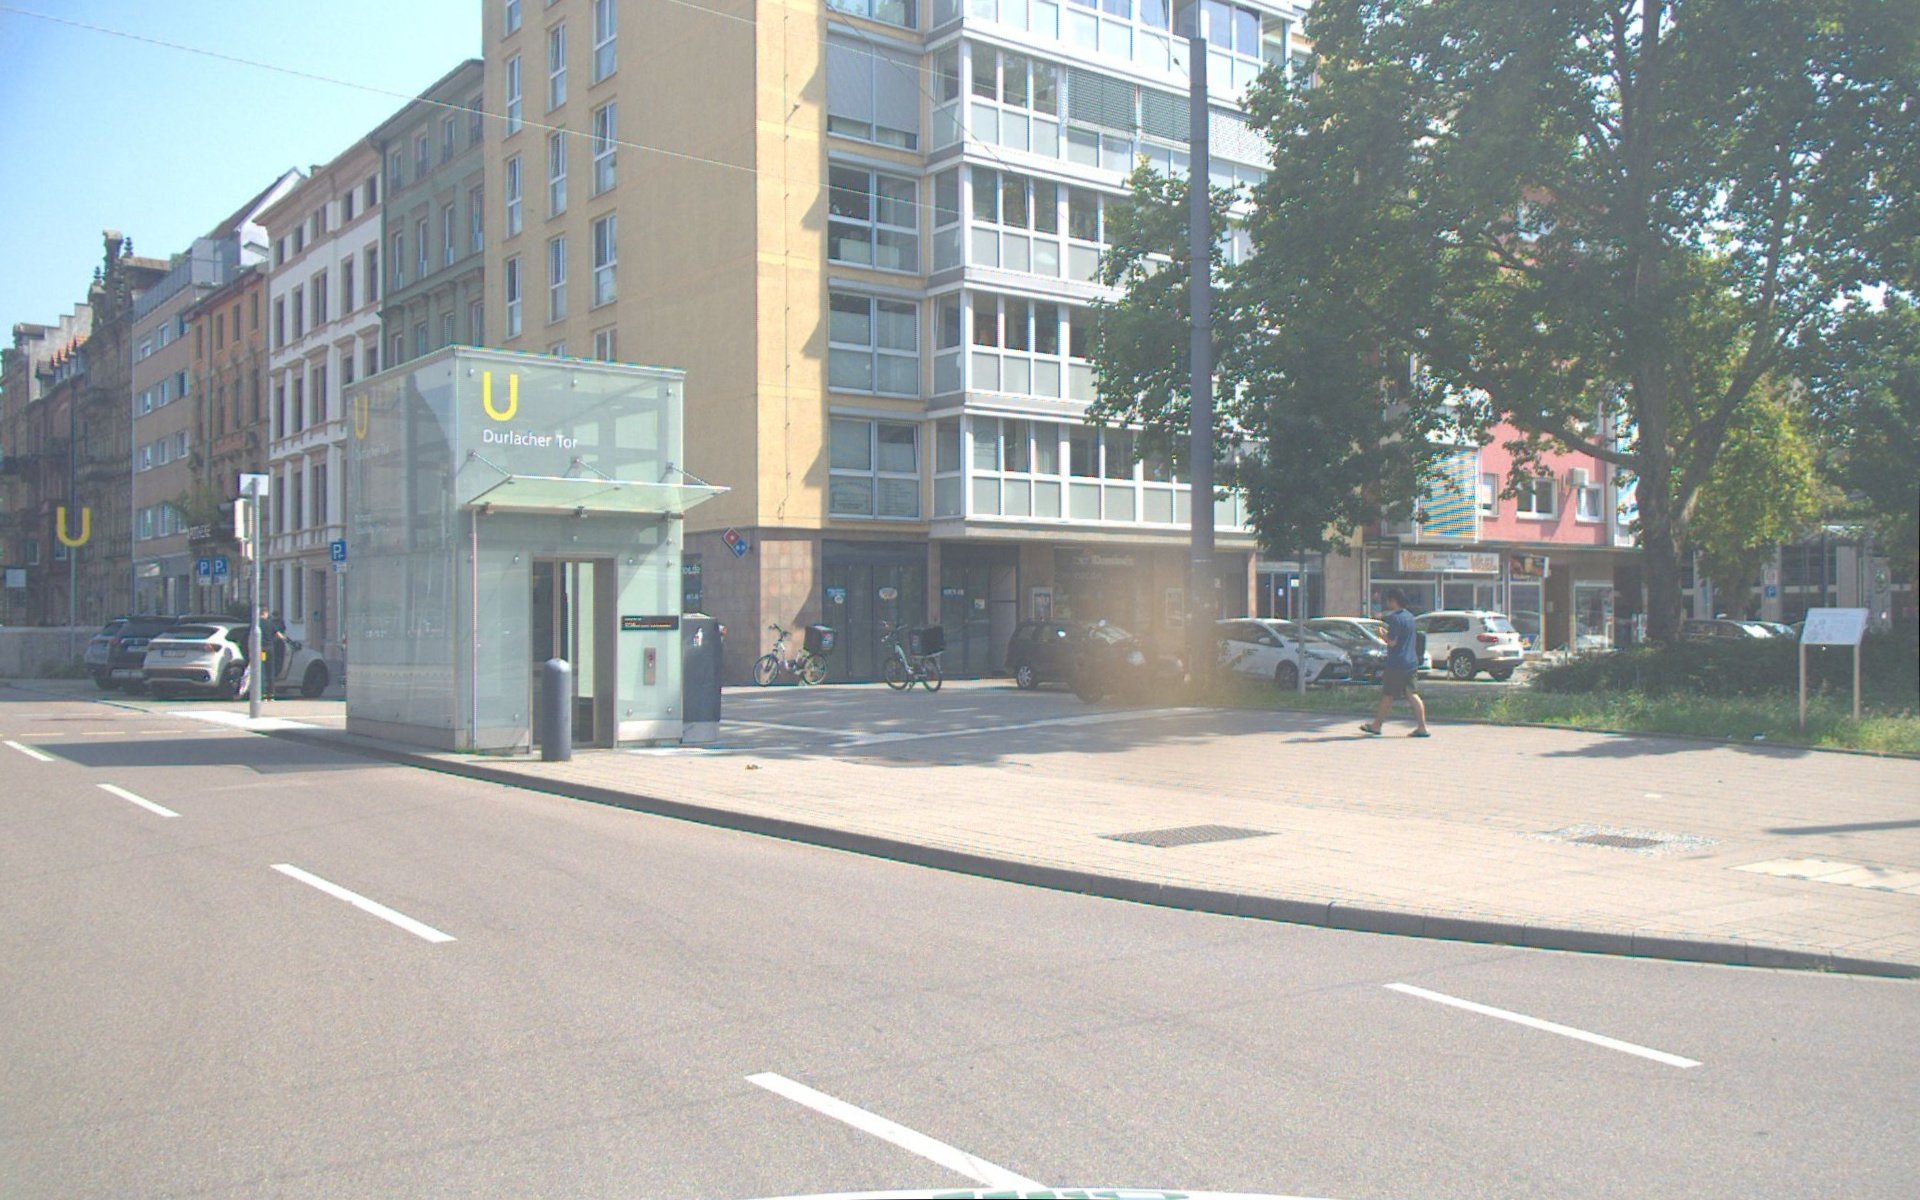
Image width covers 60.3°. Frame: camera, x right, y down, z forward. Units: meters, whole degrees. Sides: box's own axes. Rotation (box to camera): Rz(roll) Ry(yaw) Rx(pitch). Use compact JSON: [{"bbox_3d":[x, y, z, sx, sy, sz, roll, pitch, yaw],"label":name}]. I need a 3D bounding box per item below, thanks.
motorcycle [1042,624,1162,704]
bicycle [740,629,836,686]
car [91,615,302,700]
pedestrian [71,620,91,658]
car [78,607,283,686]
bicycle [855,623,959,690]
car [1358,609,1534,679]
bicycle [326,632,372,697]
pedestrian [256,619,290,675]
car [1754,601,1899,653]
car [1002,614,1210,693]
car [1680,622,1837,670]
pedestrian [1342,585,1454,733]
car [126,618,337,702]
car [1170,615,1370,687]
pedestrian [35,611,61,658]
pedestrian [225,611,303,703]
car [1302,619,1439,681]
[{"bbox_3d":[2.115,0.946,25.020,0.898,1.157,2.095,0,-1,-25],"label":"motorcycle"},{"bbox_3d":[-3.612,1.199,34.774,1.937,1.163,0.592,0,-1,-23],"label":"bicycle"},{"bbox_3d":[-16.325,1.177,35.642,1.938,1.717,4.396,0,-1,11],"label":"car"},{"bbox_3d":[-39.334,1.742,74.025,0.691,1.696,0.595,1,-2,-36],"label":"pedestrian"},{"bbox_3d":[-18.180,1.047,38.862,1.994,1.744,4.669,0,0,11],"label":"car"},{"bbox_3d":[-1.065,1.089,32.499,0.786,1.260,2.402,0,-1,-37],"label":"bicycle"},{"bbox_3d":[12.299,1.082,42.055,1.774,1.695,4.014,0,-1,-40],"label":"car"},{"bbox_3d":[-12.818,1.352,34.684,0.469,1.319,1.769,0,-2,-35],"label":"bicycle"},{"bbox_3d":[-23.646,1.621,56.940,0.674,1.878,0.838,-2,0,43],"label":"pedestrian"},{"bbox_3d":[29.344,0.893,56.105,1.774,1.695,4.014,0,-1,-40],"label":"car"},{"bbox_3d":[2.935,1.060,33.948,1.888,1.496,4.185,0,-1,-40],"label":"car"},{"bbox_3d":[24.502,1.392,50.846,1.774,1.422,4.014,0,-1,-40],"label":"car"},{"bbox_3d":[5.026,0.666,19.001,0.786,1.637,0.936,0,-2,-41],"label":"pedestrian"},{"bbox_3d":[-14.426,1.201,32.984,1.763,1.526,3.787,1,-2,17],"label":"car"},{"bbox_3d":[6.890,1.104,37.055,1.888,1.496,4.185,0,-1,-40],"label":"car"},{"bbox_3d":[-35.664,1.335,64.663,0.841,1.759,0.961,-1,1,-31],"label":"pedestrian"},{"bbox_3d":[-13.417,1.099,31.893,0.883,1.734,1.037,0,-2,26],"label":"pedestrian"},{"bbox_3d":[10.077,1.199,40.723,1.390,1.454,3.053,0,-1,-40],"label":"car"}]
